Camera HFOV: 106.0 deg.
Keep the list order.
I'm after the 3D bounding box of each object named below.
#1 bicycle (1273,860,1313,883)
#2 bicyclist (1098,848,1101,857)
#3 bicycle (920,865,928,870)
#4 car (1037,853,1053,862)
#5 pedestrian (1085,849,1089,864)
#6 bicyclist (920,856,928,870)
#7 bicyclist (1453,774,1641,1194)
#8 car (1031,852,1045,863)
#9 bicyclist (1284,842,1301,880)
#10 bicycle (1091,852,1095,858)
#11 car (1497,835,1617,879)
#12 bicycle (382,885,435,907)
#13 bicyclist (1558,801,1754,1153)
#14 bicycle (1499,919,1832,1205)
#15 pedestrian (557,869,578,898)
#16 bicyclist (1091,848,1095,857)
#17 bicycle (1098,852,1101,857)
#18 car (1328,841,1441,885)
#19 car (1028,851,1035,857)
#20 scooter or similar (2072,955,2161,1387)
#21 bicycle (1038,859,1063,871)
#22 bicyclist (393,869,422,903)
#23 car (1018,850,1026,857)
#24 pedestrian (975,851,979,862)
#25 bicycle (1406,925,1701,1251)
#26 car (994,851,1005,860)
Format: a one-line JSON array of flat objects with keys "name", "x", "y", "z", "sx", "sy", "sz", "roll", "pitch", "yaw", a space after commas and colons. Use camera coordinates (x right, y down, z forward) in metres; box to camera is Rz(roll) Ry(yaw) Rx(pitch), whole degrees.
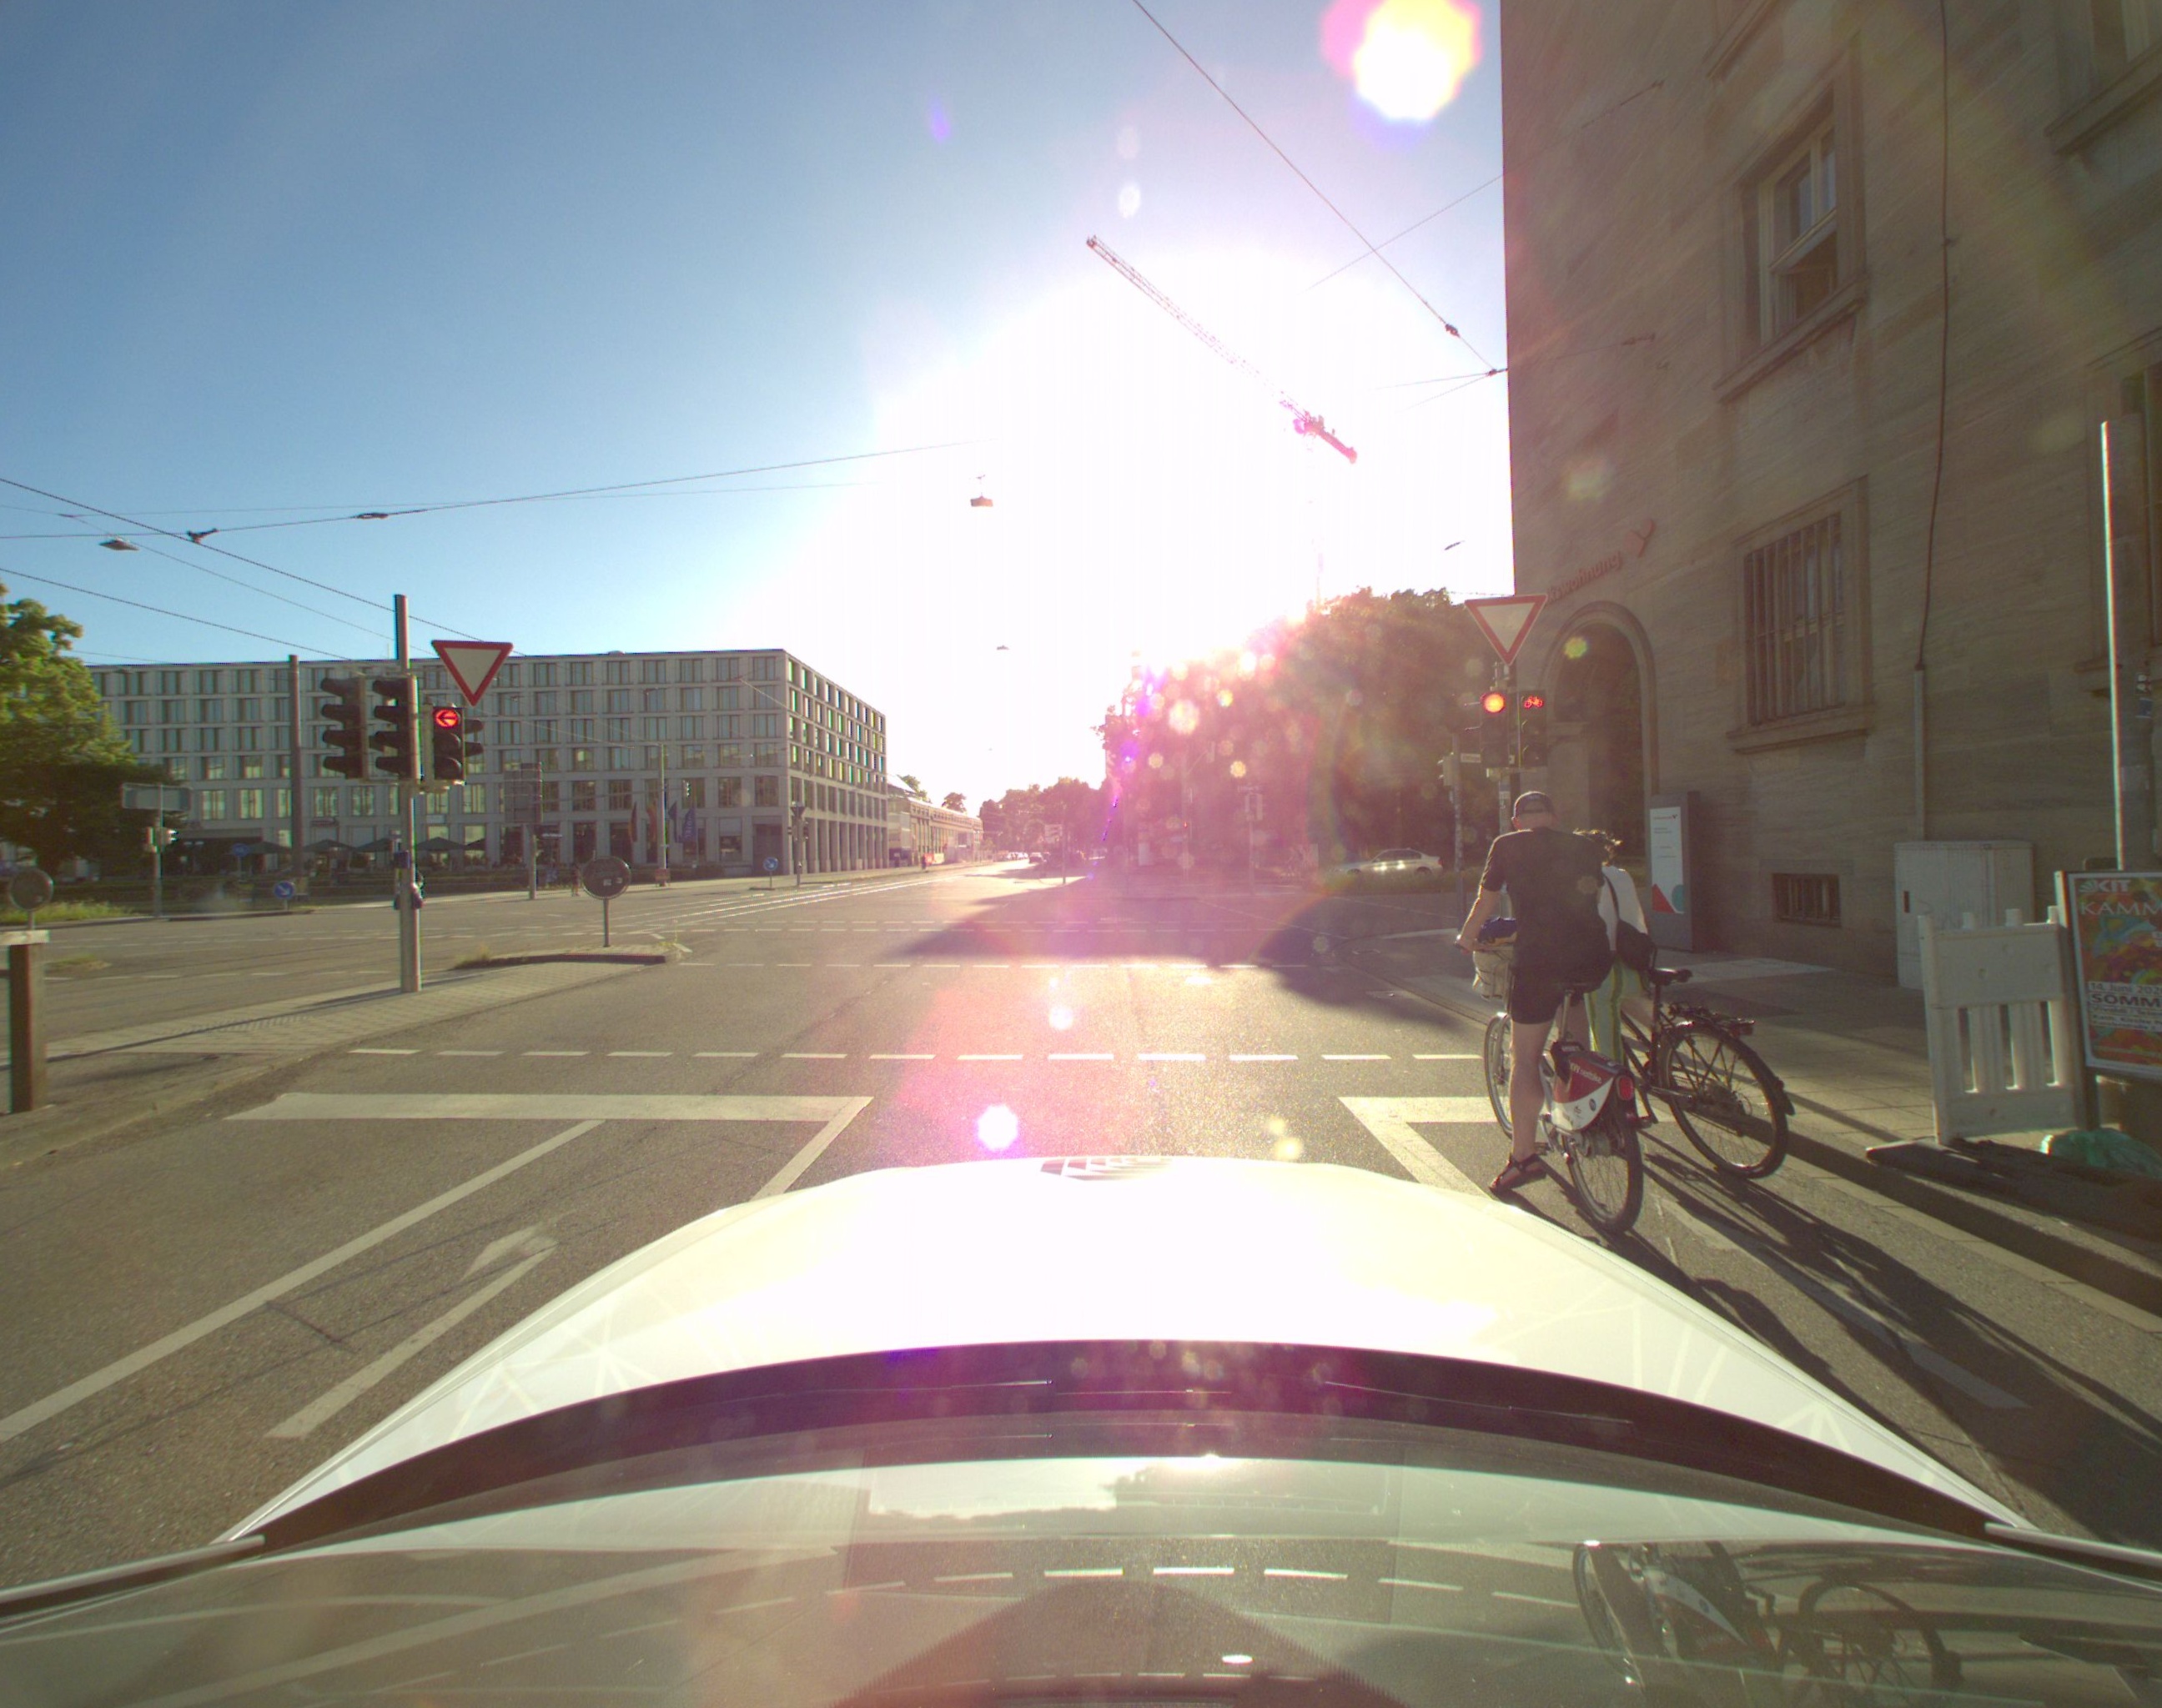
[{"name": "bicycle", "x": 9.416, "y": 0.762, "z": 36.246, "sx": 1.657, "sy": 0.963, "sz": 0.535, "roll": -2, "pitch": 0, "yaw": 7}, {"name": "bicyclist", "x": 3.681, "y": -0.301, "z": 161.405, "sx": 0.567, "sy": 1.691, "sz": 0.700, "roll": -2, "pitch": 0, "yaw": 1}, {"name": "bicycle", "x": -15.701, "y": 1.351, "z": 81.428, "sx": 0.499, "sy": 0.515, "sz": 1.258, "roll": 0, "pitch": -1, "yaw": 1}, {"name": "car", "x": -6.140, "y": 0.554, "z": 139.705, "sx": 1.882, "sy": 1.565, "sz": 4.815, "roll": 1, "pitch": 0, "yaw": 6}, {"name": "pedestrian", "x": 0.737, "y": 0.263, "z": 97.887, "sx": 0.462, "sy": 1.813, "sz": 0.502, "roll": -2, "pitch": 0, "yaw": -3}, {"name": "bicyclist", "x": -15.708, "y": 0.880, "z": 81.451, "sx": 0.594, "sy": 1.377, "sz": 0.637, "roll": 0, "pitch": -1, "yaw": 0}, {"name": "bicyclist", "x": 2.129, "y": 0.560, "z": 3.782, "sx": 0.556, "sy": 1.799, "sz": 0.551, "roll": -1, "pitch": 0, "yaw": 3}, {"name": "car", "x": -6.046, "y": 0.527, "z": 114.984, "sx": 1.655, "sy": 1.455, "sz": 4.431, "roll": -1, "pitch": 0, "yaw": 0}, {"name": "bicyclist", "x": 9.413, "y": 0.298, "z": 36.262, "sx": 0.640, "sy": 1.683, "sz": 0.508, "roll": -2, "pitch": 0, "yaw": 7}, {"name": "bicycle", "x": 2.364, "y": 0.147, "z": 160.952, "sx": 0.573, "sy": 1.077, "sz": 1.831, "roll": -2, "pitch": 0, "yaw": 1}, {"name": "car", "x": 19.218, "y": 0.129, "z": 32.981, "sx": 3.835, "sy": 1.611, "sz": 1.650, "roll": -2, "pitch": 0, "yaw": 1}, {"name": "bicycle", "x": -32.654, "y": 2.021, "z": 39.567, "sx": 0.754, "sy": 0.935, "sz": 1.872, "roll": -2, "pitch": 0, "yaw": 19}, {"name": "bicyclist", "x": 2.959, "y": 0.591, "z": 4.249, "sx": 0.556, "sy": 1.691, "sz": 0.640, "roll": -1, "pitch": 0, "yaw": 0}, {"name": "bicycle", "x": 2.948, "y": 0.957, "z": 4.355, "sx": 0.532, "sy": 1.077, "sz": 1.751, "roll": -1, "pitch": 0, "yaw": 1}, {"name": "pedestrian", "x": -28.697, "y": 1.625, "z": 45.552, "sx": 0.774, "sy": 1.589, "sz": 0.589, "roll": -2, "pitch": 0, "yaw": -7}, {"name": "bicyclist", "x": 2.360, "y": -0.349, "z": 160.959, "sx": 0.567, "sy": 1.691, "sz": 0.700, "roll": -2, "pitch": 0, "yaw": 1}, {"name": "bicycle", "x": 3.705, "y": 0.140, "z": 161.384, "sx": 0.573, "sy": 1.077, "sz": 1.831, "roll": -2, "pitch": 0, "yaw": 1}, {"name": "car", "x": 12.351, "y": 0.352, "z": 33.258, "sx": 3.979, "sy": 1.611, "sz": 1.650, "roll": -2, "pitch": 0, "yaw": 1}, {"name": "car", "x": -13.258, "y": 0.010, "z": 218.261, "sx": 1.688, "sy": 1.718, "sz": 4.245, "roll": 0, "pitch": -1, "yaw": -1}, {"name": "scooter or similar", "x": 3.281, "y": 0.899, "z": 1.806, "sx": 0.533, "sy": 1.185, "sz": 1.328, "roll": -2, "pitch": 0, "yaw": 1}, {"name": "bicycle", "x": -2.569, "y": 0.908, "z": 67.706, "sx": 1.996, "sy": 0.891, "sz": 0.655, "roll": -4, "pitch": -1, "yaw": 29}, {"name": "bicyclist", "x": -32.698, "y": 1.540, "z": 39.537, "sx": 0.753, "sy": 1.589, "sz": 0.781, "roll": -2, "pitch": 0, "yaw": 18}, {"name": "car", "x": -14.243, "y": -0.111, "z": 195.323, "sx": 1.688, "sy": 1.718, "sz": 4.245, "roll": 0, "pitch": -1, "yaw": -1}, {"name": "pedestrian", "x": -18.701, "y": 0.408, "z": 146.855, "sx": 0.672, "sy": 2.014, "sz": 0.751, "roll": 0, "pitch": -1, "yaw": -1}, {"name": "bicycle", "x": 2.127, "y": 0.957, "z": 3.939, "sx": 0.513, "sy": 1.077, "sz": 1.729, "roll": -1, "pitch": 0, "yaw": 4}, {"name": "car", "x": -15.670, "y": 0.270, "z": 157.073, "sx": 1.688, "sy": 1.718, "sz": 4.245, "roll": 0, "pitch": -1, "yaw": -1}]
